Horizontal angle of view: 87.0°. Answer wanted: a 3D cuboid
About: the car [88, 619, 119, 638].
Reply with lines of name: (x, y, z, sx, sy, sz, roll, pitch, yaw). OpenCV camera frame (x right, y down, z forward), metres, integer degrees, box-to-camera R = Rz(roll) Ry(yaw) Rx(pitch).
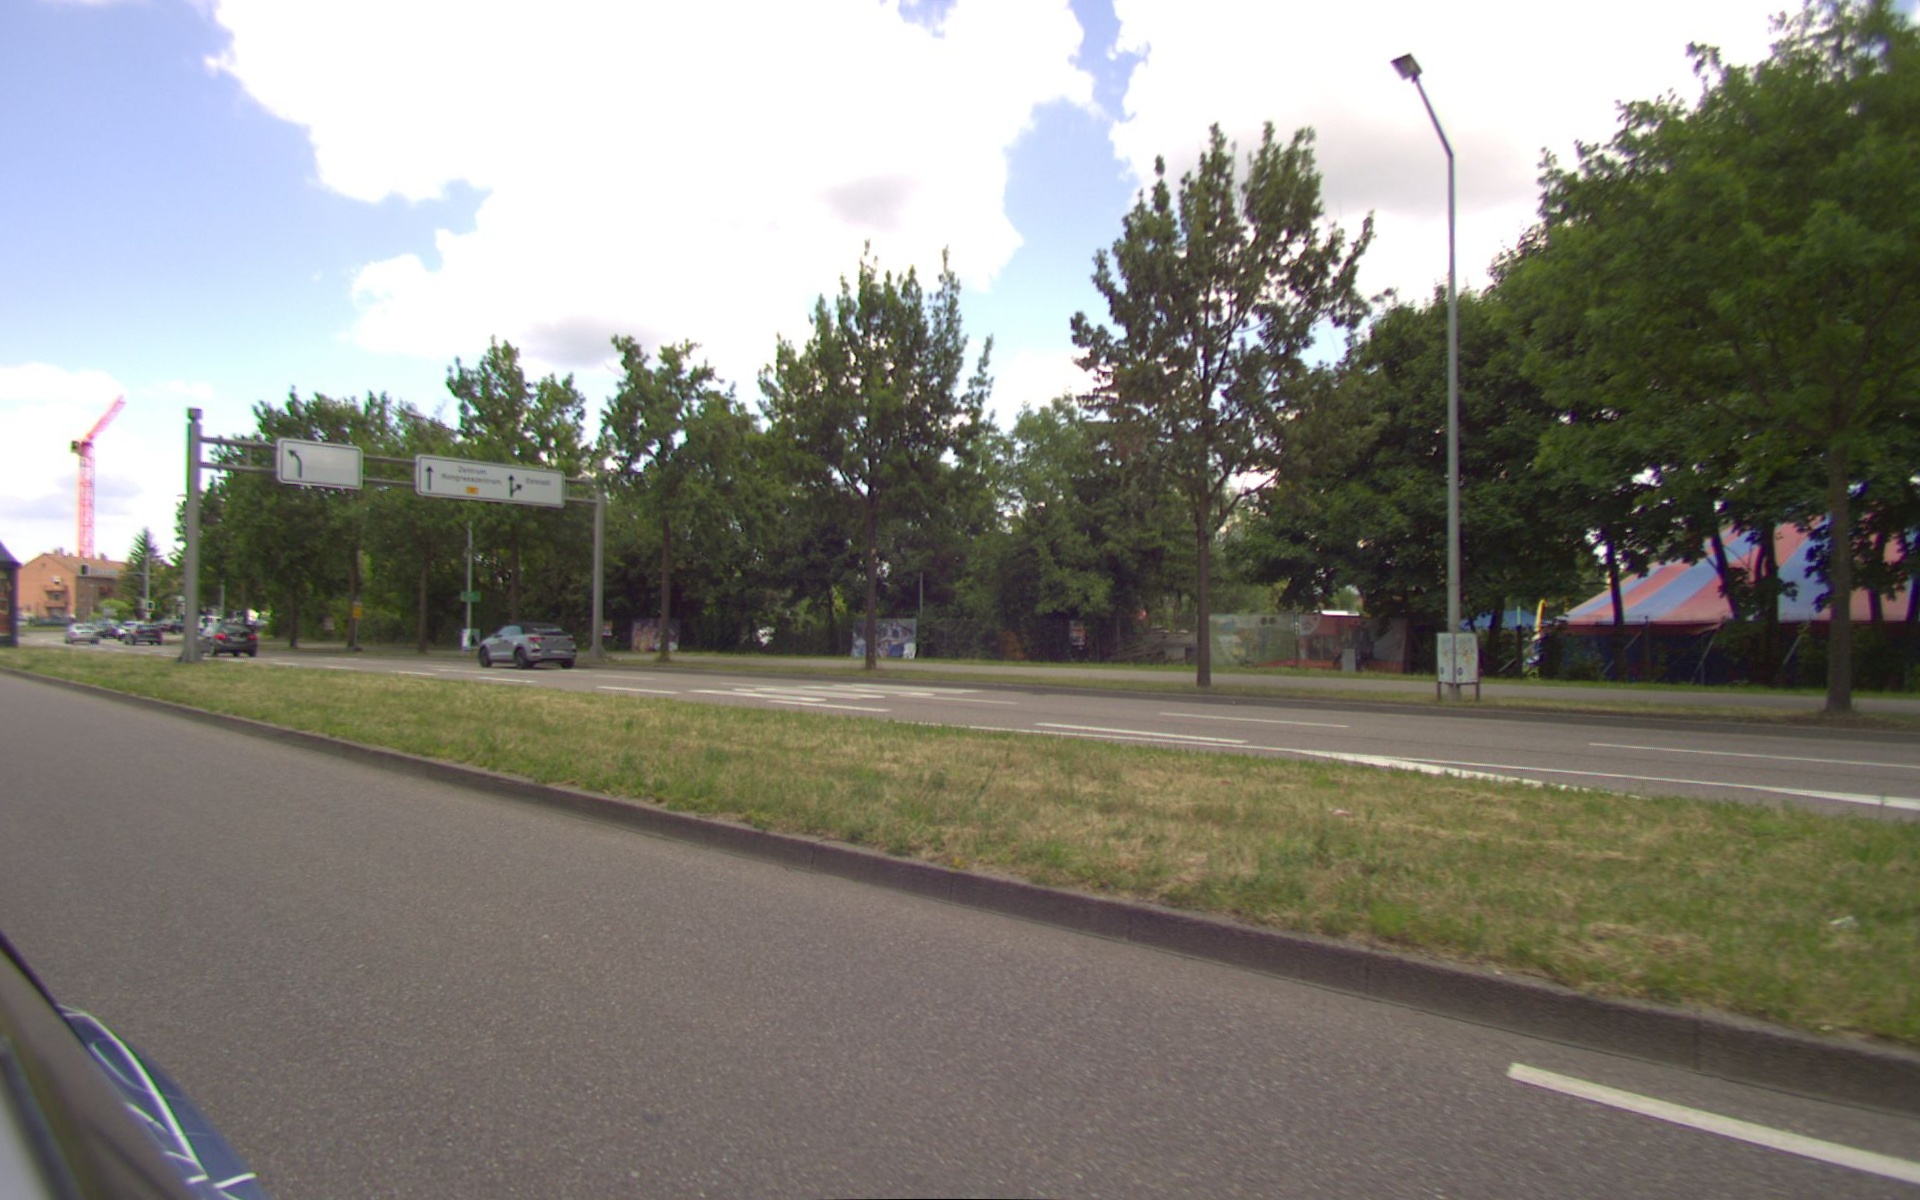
car: (-75.035, 2.468, 88.702, 1.700, 1.603, 5.024, 1, -2, -37)

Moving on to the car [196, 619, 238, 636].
car: (-81.081, 3.035, 110.531, 1.813, 1.813, 4.799, 2, -2, -12)

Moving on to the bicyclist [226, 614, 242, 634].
bicyclist: (-59.242, 1.961, 82.608, 0.883, 1.576, 0.821, -1, 1, 41)

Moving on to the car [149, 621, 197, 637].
car: (-78.277, 2.890, 100.742, 1.814, 1.491, 4.763, 2, -2, -11)

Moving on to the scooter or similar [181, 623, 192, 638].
scooter or similar: (-63.413, 2.509, 82.931, 0.534, 1.175, 1.441, 0, -1, -45)

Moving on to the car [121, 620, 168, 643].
car: (-59.689, 2.280, 74.035, 5.028, 1.589, 1.745, -1, -2, 40)

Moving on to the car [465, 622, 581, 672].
car: (-14.694, 1.542, 33.928, 4.570, 1.557, 1.723, -1, -3, 40)

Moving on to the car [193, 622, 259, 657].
car: (-34.753, 1.841, 47.879, 4.275, 1.581, 1.722, -1, -3, 43)

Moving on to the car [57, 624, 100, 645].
car: (-63.117, 2.477, 72.435, 4.307, 1.451, 1.744, -1, -2, 41)

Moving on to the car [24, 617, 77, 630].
car: (-113.914, 2.940, 126.755, 4.513, 1.604, 1.920, 0, -1, -18)

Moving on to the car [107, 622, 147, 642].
car: (-68.688, 2.612, 83.494, 1.883, 1.552, 4.381, 1, -2, -31)
